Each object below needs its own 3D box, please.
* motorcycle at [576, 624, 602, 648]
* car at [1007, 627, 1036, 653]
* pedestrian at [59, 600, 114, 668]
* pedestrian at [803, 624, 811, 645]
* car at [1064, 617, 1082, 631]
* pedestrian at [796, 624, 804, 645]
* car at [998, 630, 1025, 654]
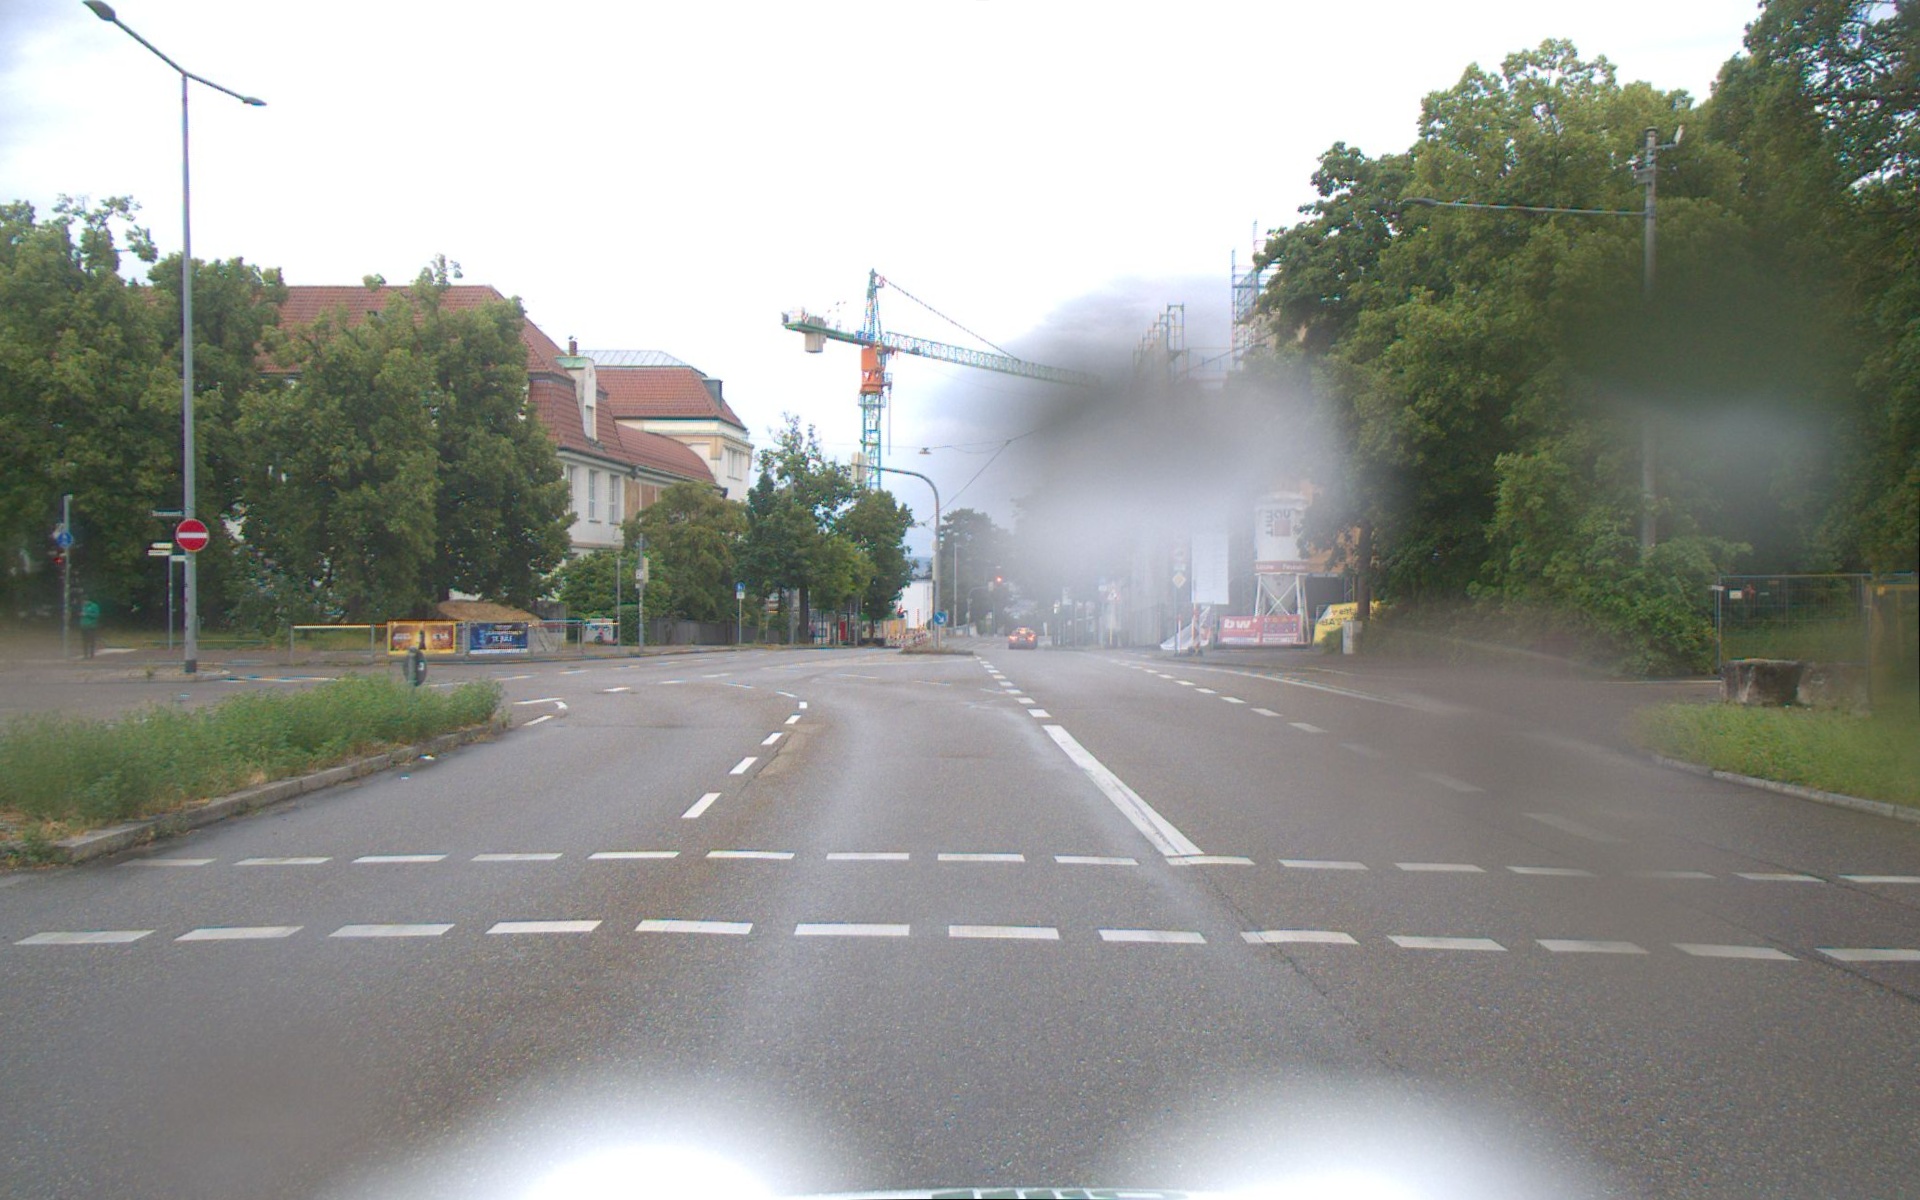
[{"bbox_3d":[-14.491,1.413,64.651,0.832,0.893,0.877,1,0,-1],"label":"motorcycle"},{"bbox_3d":[4.599,2.979,124.107,1.953,1.780,3.999,-1,0,-1],"label":"car"},{"bbox_3d":[-23.154,0.888,43.870,0.903,1.757,0.946,1,0,3],"label":"pedestrian"},{"bbox_3d":[-10.241,2.329,110.742,0.465,1.421,0.411,0,0,-1],"label":"pedestrian"},{"bbox_3d":[15.028,3.124,219.500,1.951,1.780,4.003,-1,0,10],"label":"car"},{"bbox_3d":[-10.709,2.291,110.828,0.465,1.421,0.411,0,0,-1],"label":"pedestrian"},{"bbox_3d":[4.051,3.325,131.290,1.953,1.780,3.999,-1,0,-1],"label":"car"}]
